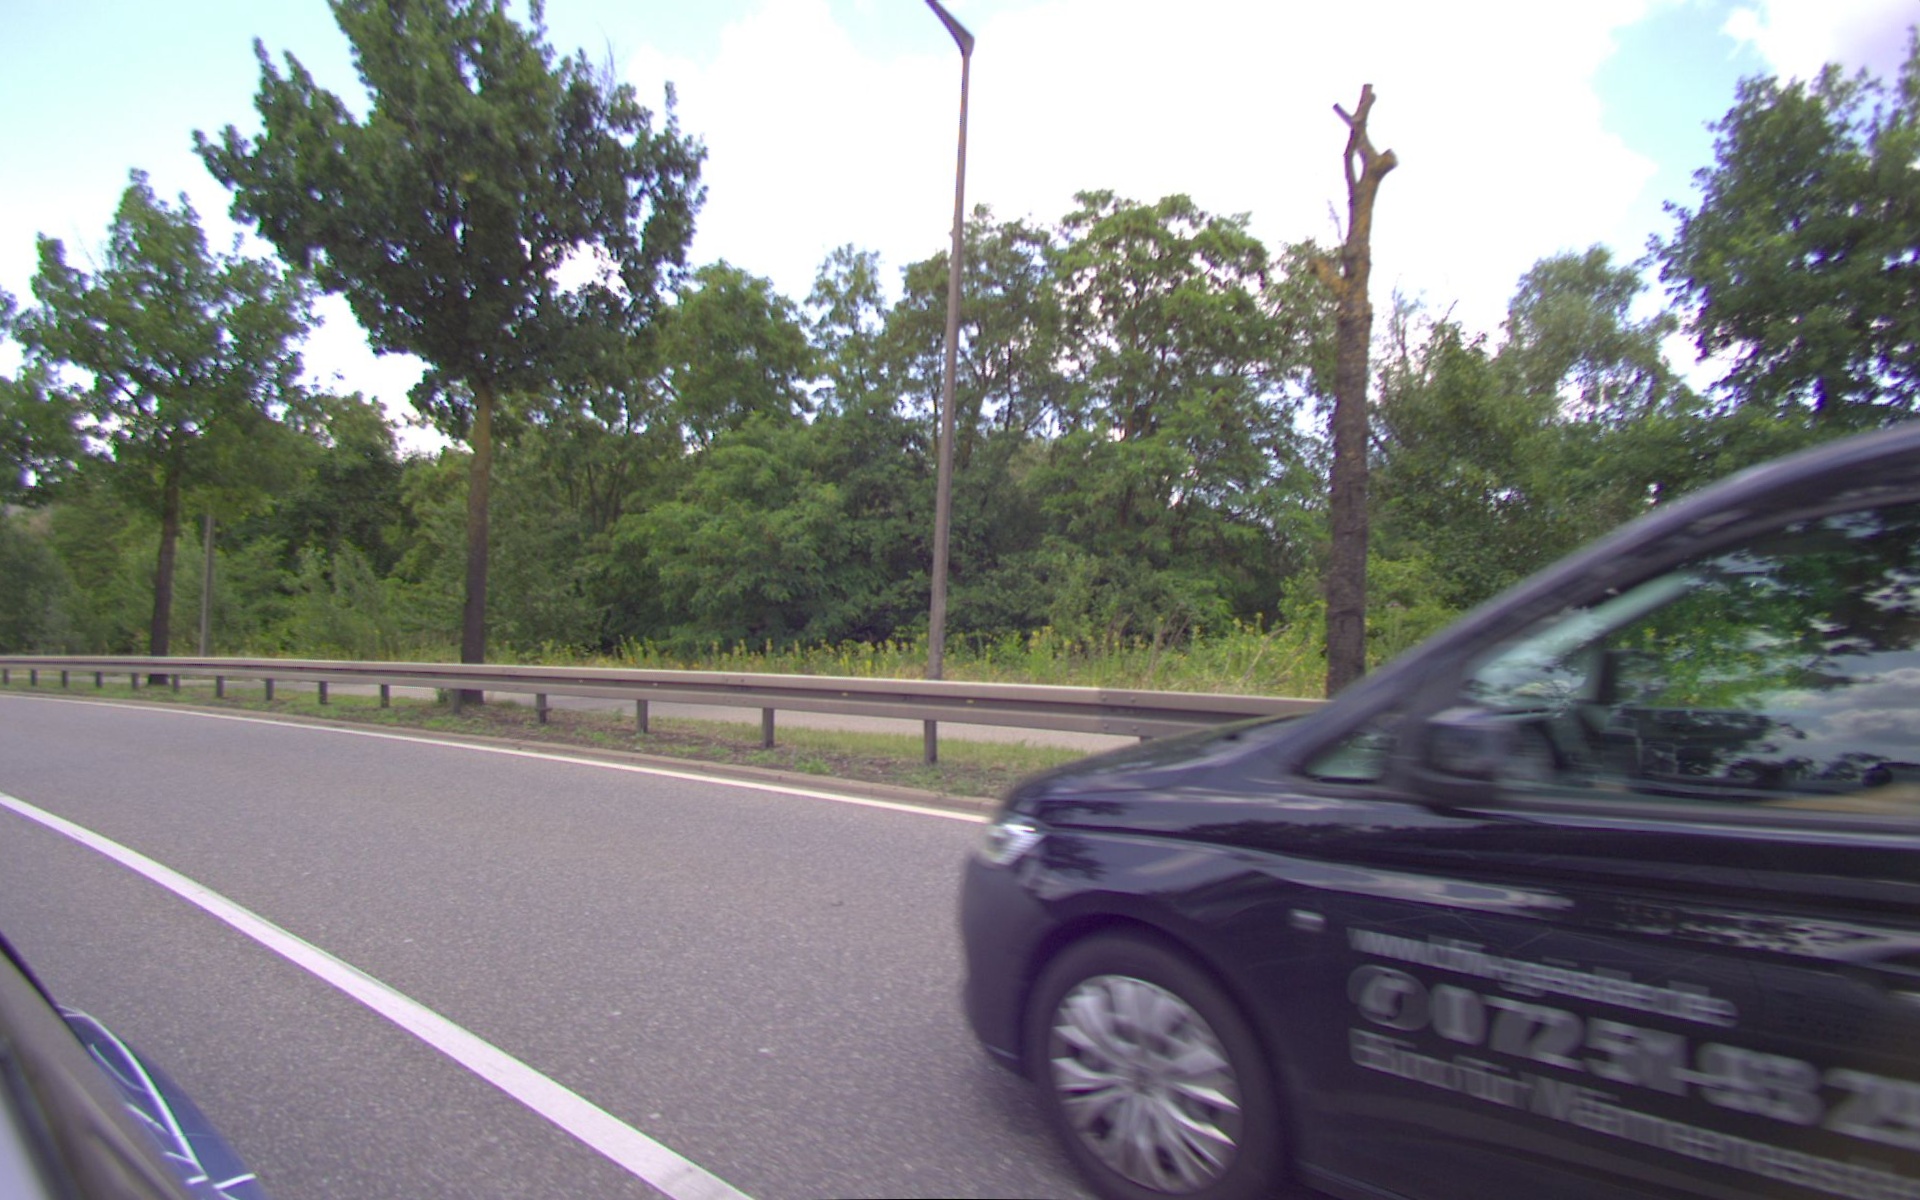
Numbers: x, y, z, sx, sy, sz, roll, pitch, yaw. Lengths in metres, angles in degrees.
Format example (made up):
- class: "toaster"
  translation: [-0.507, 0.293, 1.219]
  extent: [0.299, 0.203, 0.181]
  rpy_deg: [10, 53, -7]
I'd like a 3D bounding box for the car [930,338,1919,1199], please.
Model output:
- class: "car"
  translation: [2.152, 0.481, 1.829]
  extent: [4.311, 1.722, 1.833]
  rpy_deg: [-2, 0, 42]
